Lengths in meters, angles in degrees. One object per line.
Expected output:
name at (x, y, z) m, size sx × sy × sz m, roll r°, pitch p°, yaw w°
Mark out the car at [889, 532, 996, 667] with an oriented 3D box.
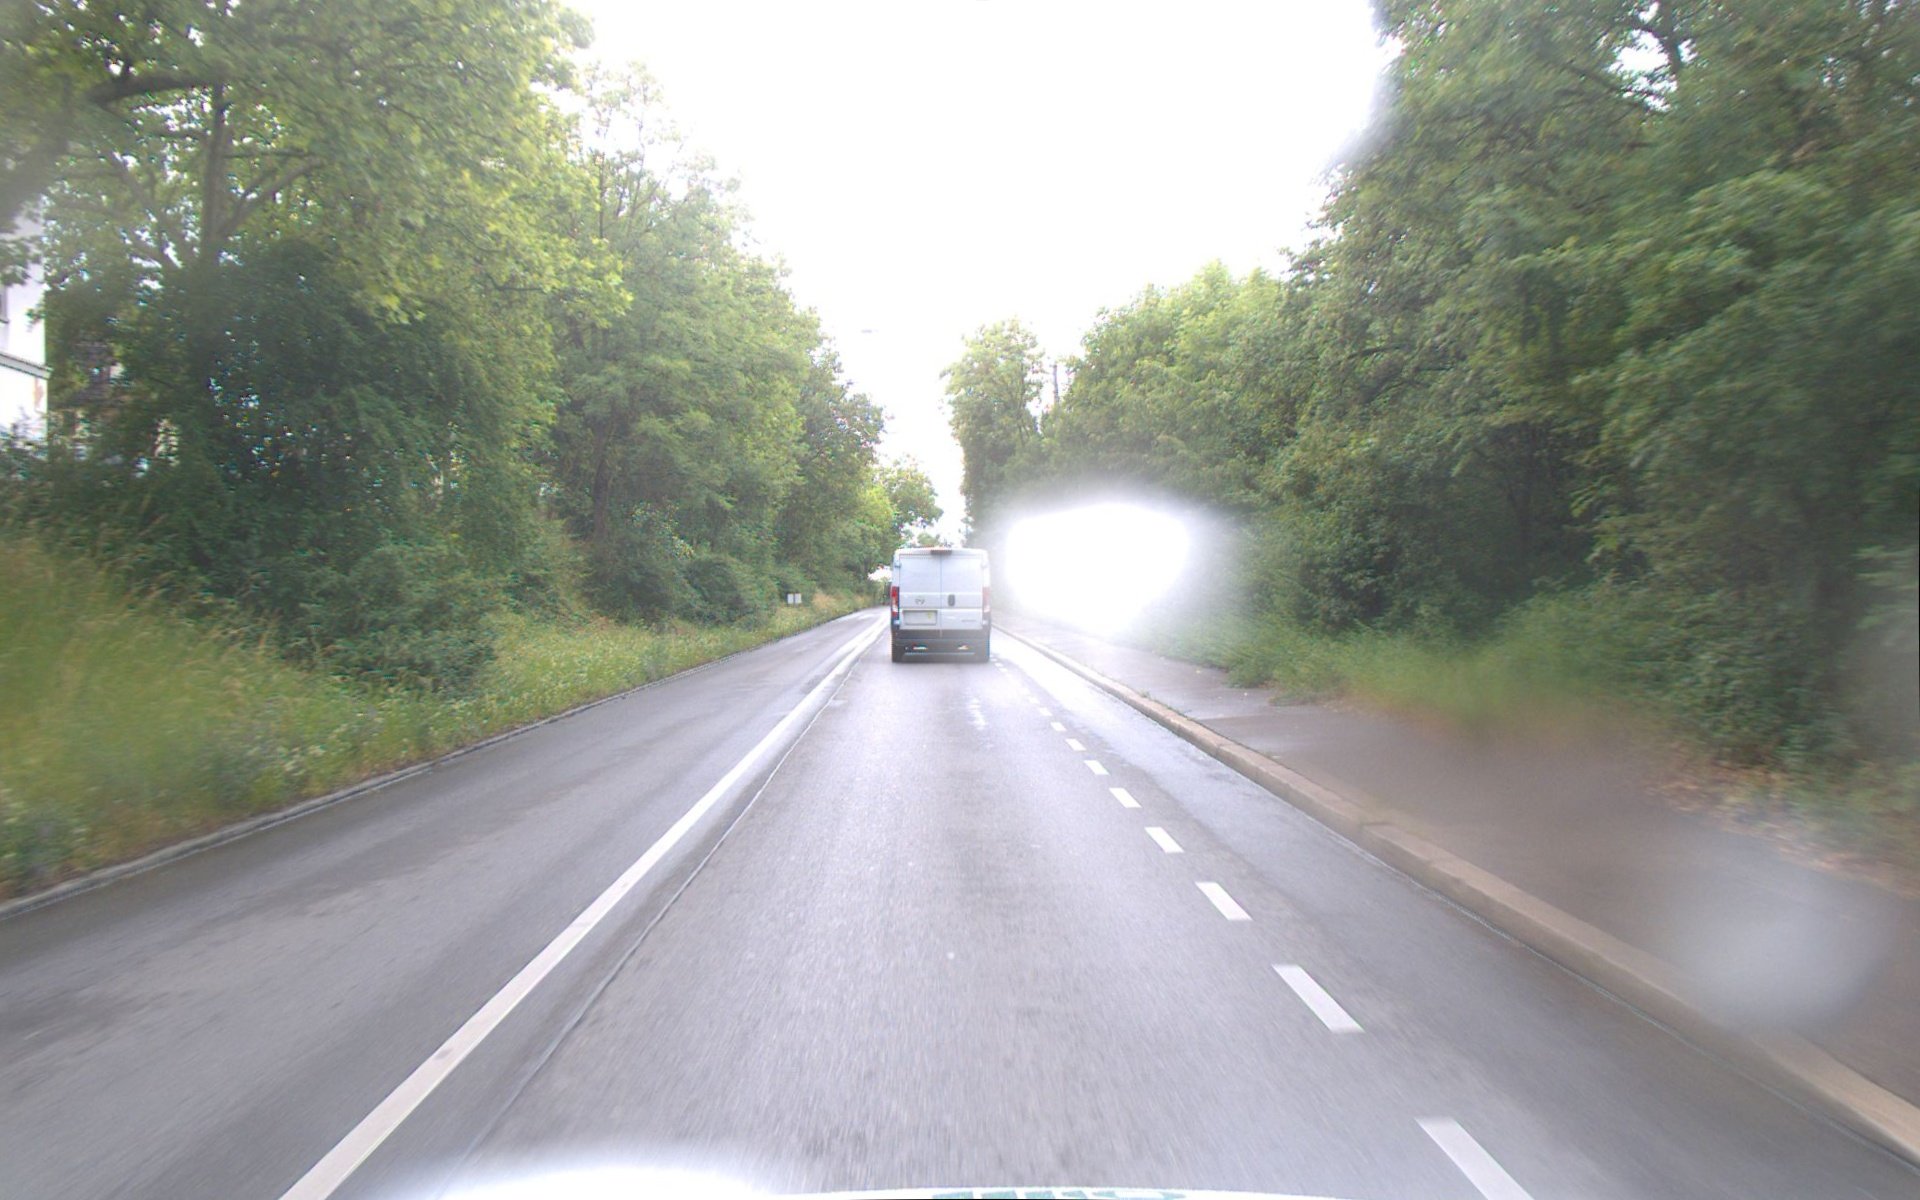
car at (-0.378, -0.046, 34.787) m, size 2.008 × 2.560 × 4.943 m, roll 2°, pitch 1°, yaw -1°
